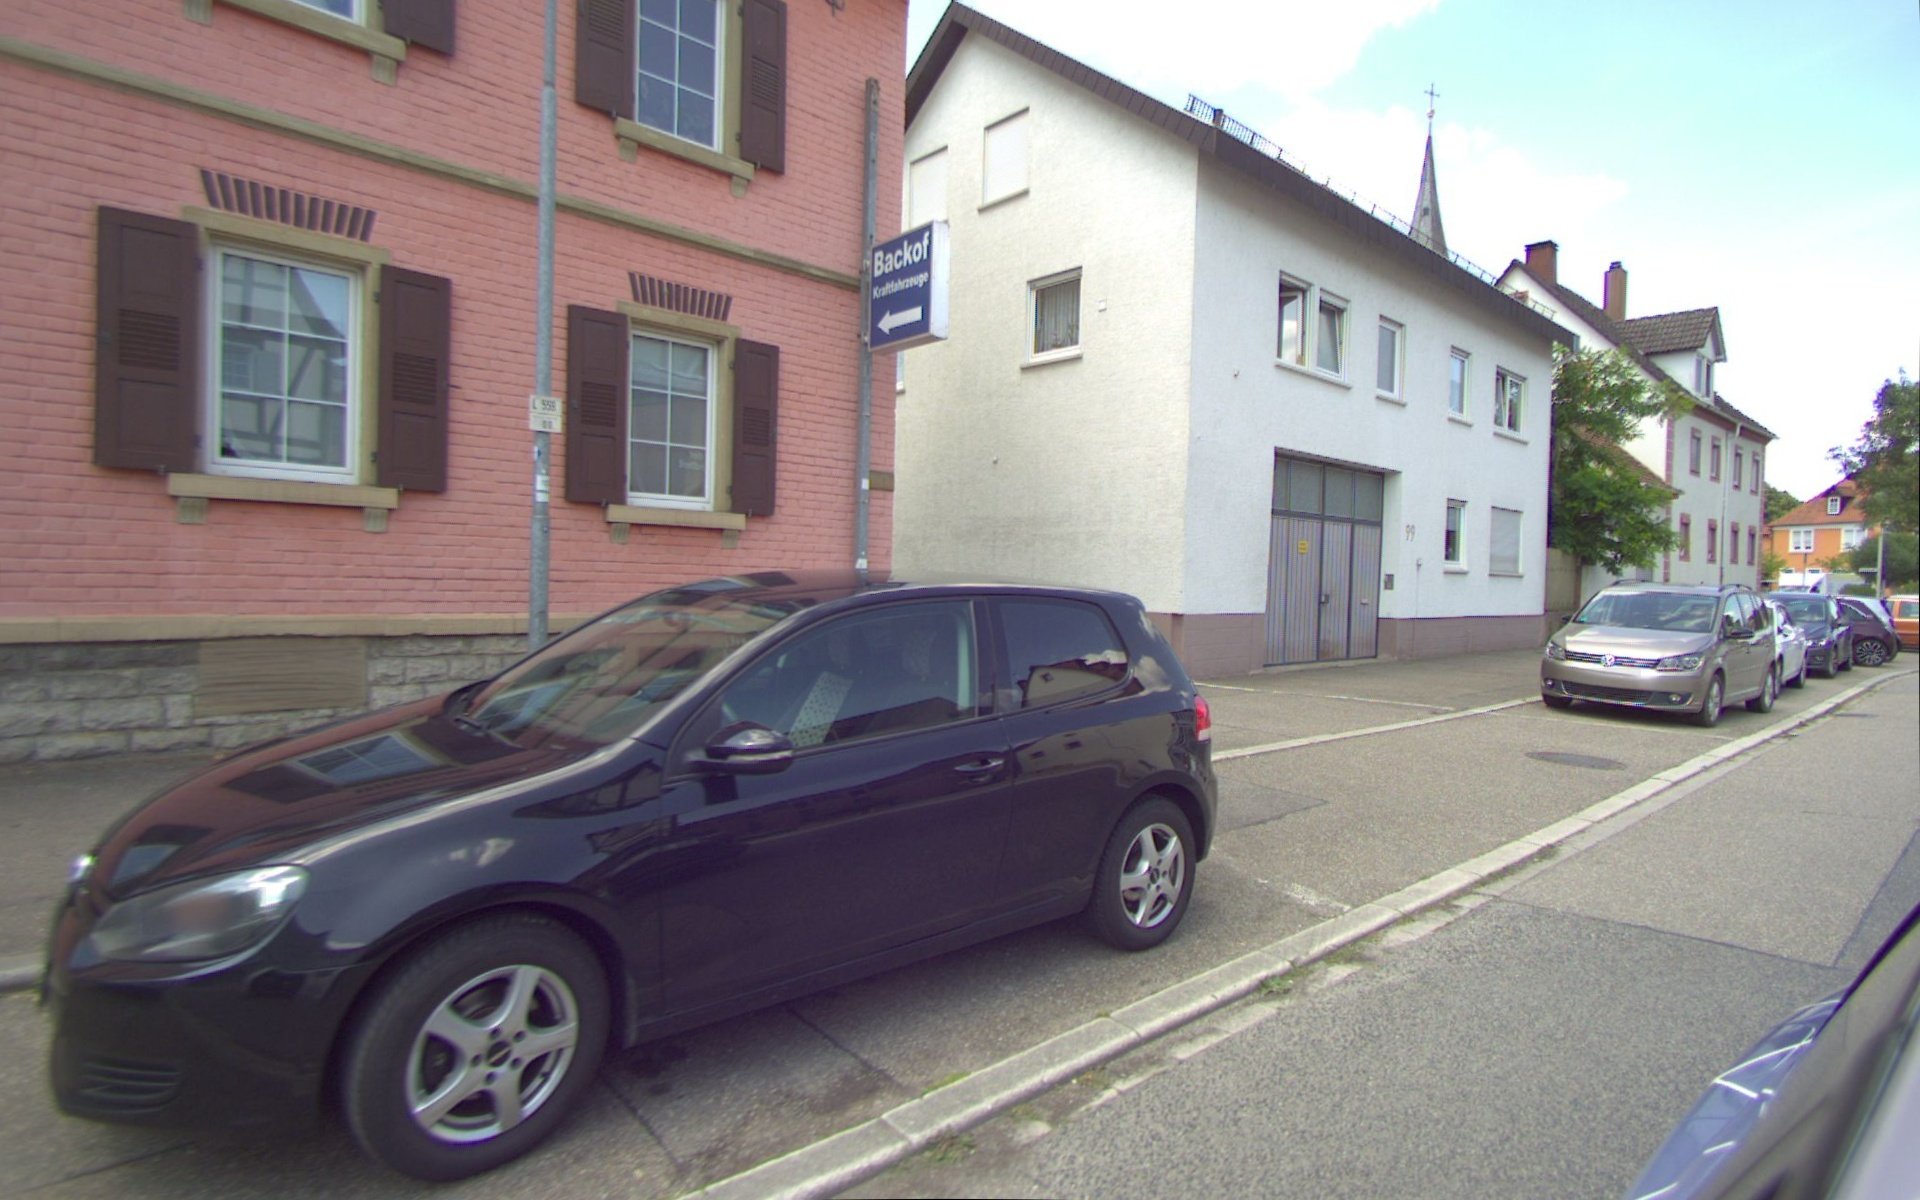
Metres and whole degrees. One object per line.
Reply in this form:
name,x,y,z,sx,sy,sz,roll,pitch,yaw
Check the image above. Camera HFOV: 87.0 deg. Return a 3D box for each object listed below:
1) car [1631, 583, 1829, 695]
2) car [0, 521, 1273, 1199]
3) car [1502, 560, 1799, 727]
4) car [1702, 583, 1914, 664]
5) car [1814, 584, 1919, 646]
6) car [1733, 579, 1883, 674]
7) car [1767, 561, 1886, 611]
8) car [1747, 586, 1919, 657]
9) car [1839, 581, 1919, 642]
car,12.812,0.540,16.743,4.300,1.536,1.995,0,2,-45
car,-0.771,0.565,3.818,4.088,1.513,1.779,0,3,-41
car,8.722,0.421,12.653,4.247,1.701,1.998,0,2,-41
car,19.168,0.483,23.055,3.202,1.523,1.812,4,2,24
car,26.507,0.425,28.560,1.696,1.596,3.385,0,3,-40
car,16.899,0.460,20.094,4.198,1.644,1.665,0,2,-42
car,54.522,-0.886,63.654,6.965,2.999,2.768,0,3,-23
car,21.367,0.479,24.887,2.761,1.523,1.861,3,2,26
car,28.533,0.382,29.739,1.820,1.596,3.854,-3,6,-43
